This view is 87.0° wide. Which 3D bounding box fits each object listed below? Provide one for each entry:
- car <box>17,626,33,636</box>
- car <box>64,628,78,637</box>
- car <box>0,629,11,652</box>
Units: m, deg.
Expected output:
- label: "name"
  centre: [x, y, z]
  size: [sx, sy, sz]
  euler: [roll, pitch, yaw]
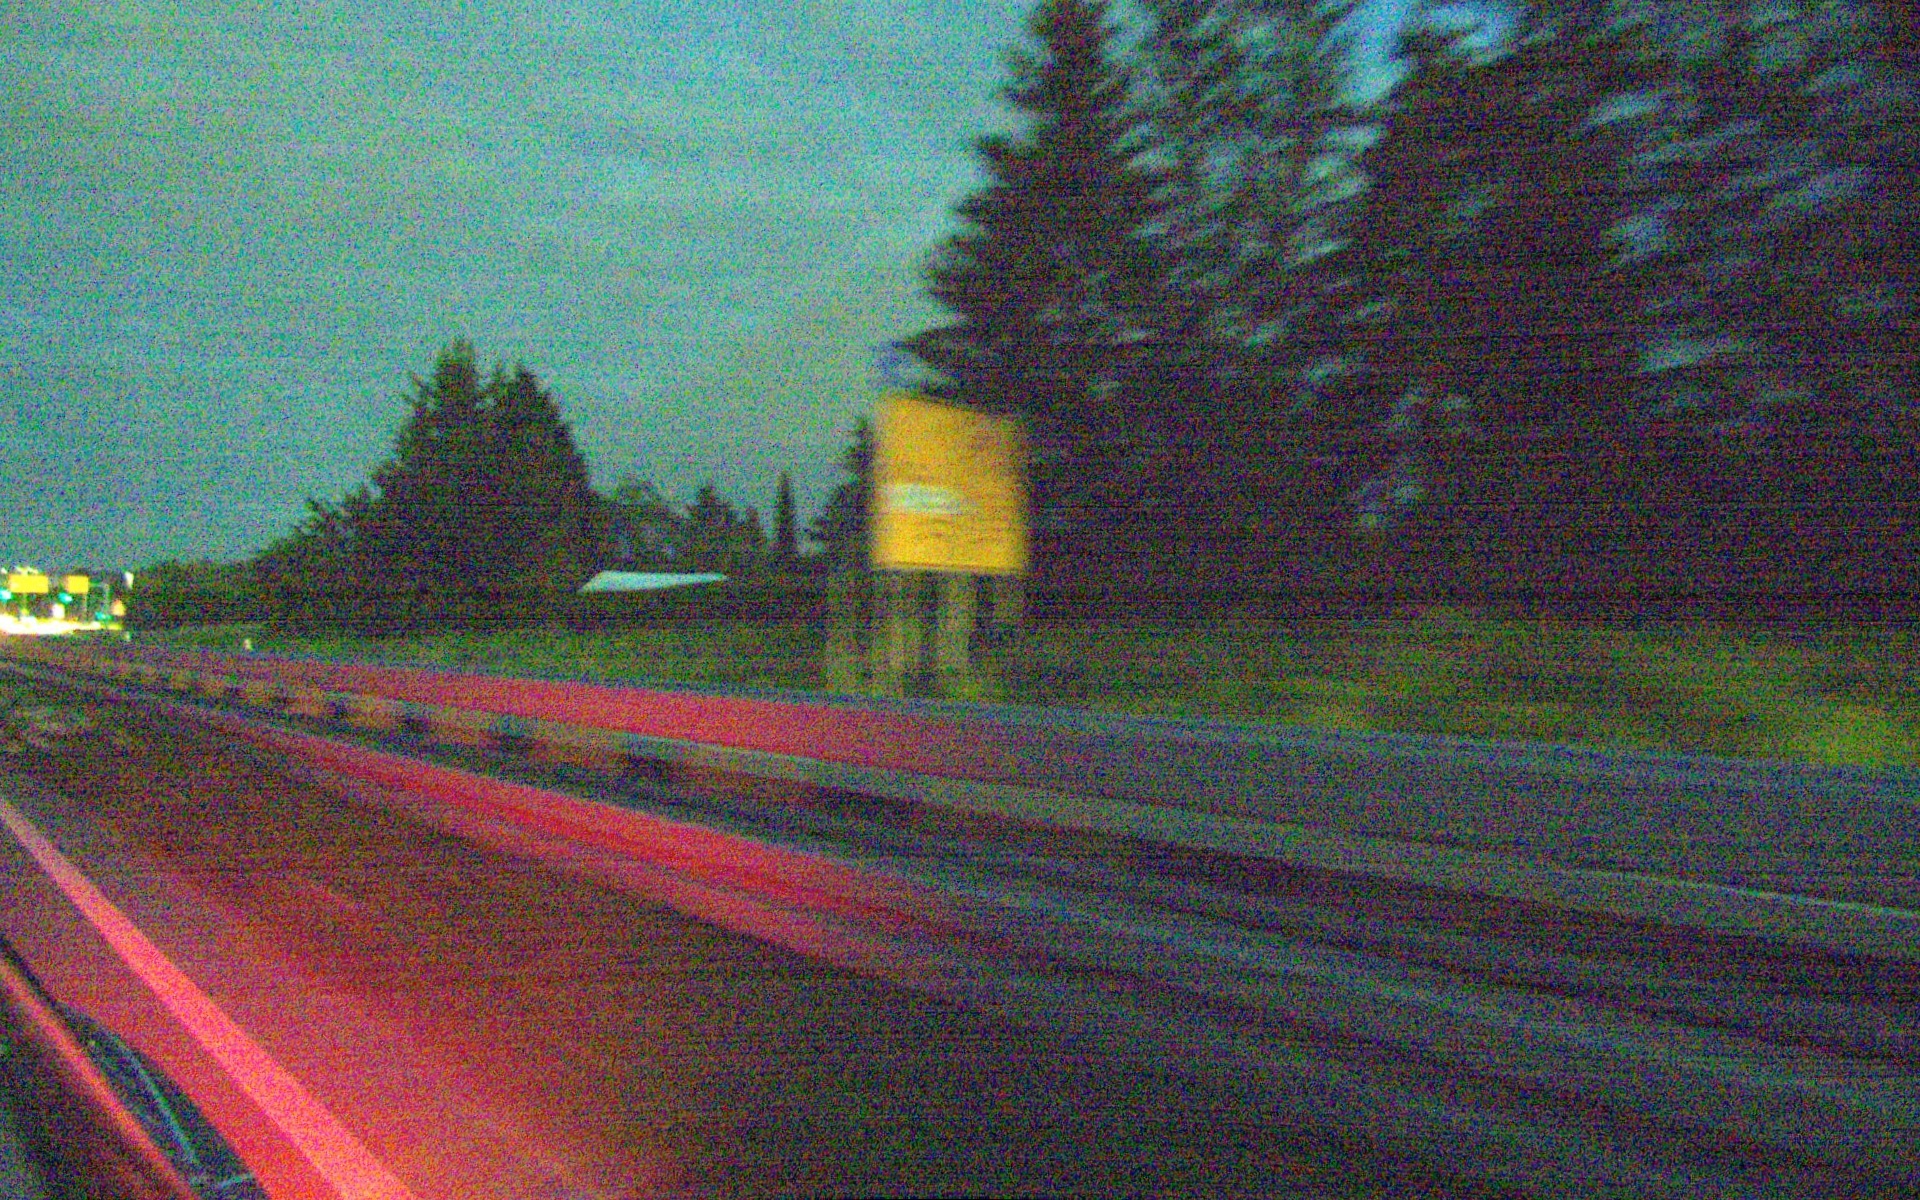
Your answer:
- label: "car"
  centre: [-142.663, 4.769, 154.385]
  size: [1.699, 1.458, 4.387]
  euler: [-1, 0, -42]
- label: "car"
  centre: [-160.033, 5.903, 182.190]
  size: [1.632, 1.487, 4.007]
  euler: [-1, 0, -39]
- label: "car"
  centre: [-62.149, 2.599, 64.718]
  size: [4.572, 1.418, 1.702]
  euler: [-1, 0, 41]
